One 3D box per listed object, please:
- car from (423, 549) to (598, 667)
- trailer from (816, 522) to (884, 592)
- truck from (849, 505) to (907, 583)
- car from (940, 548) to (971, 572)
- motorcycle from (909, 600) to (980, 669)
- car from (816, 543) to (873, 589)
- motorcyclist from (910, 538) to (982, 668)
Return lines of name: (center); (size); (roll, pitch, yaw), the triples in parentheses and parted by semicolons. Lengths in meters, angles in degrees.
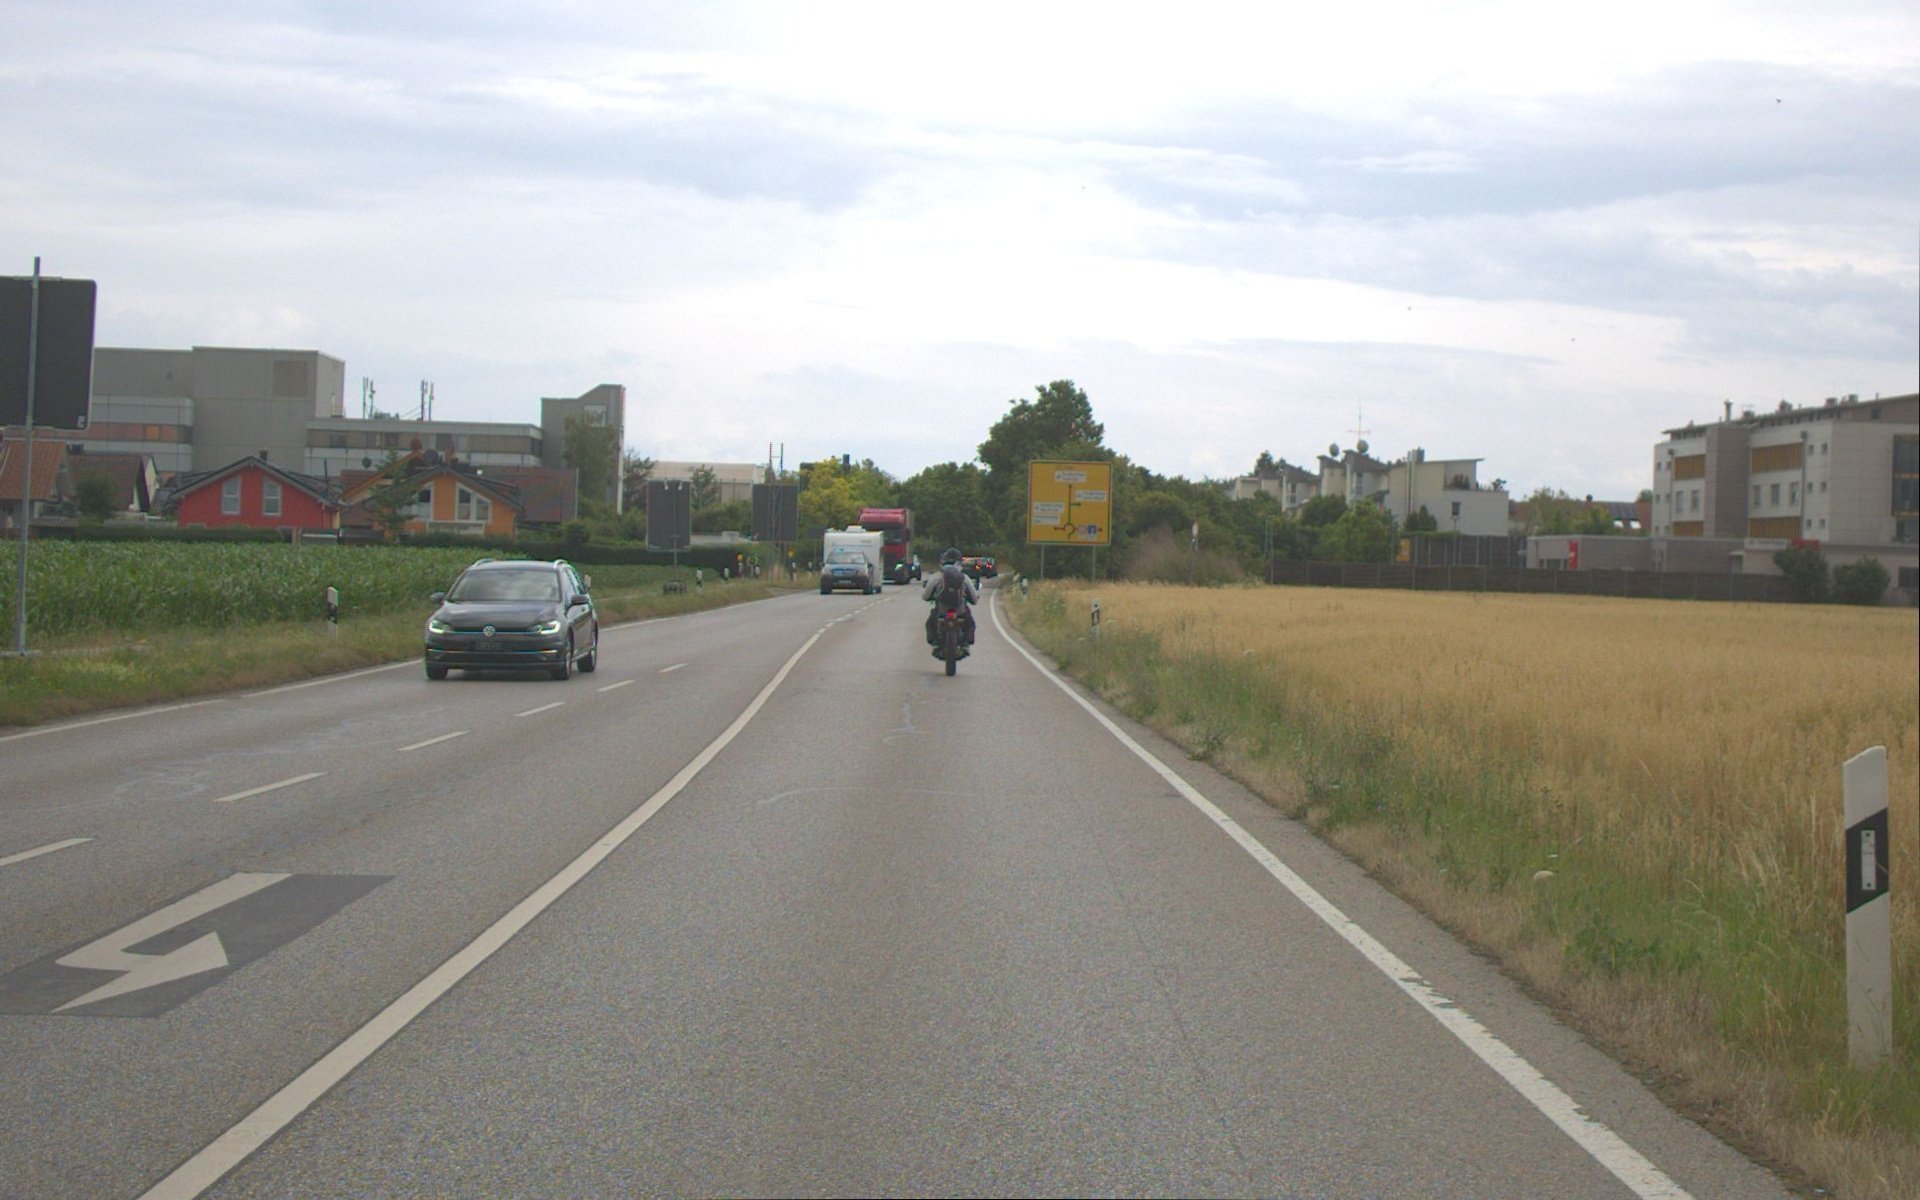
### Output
car: (-5.671, 0.069, 43.770); (1.669, 1.424, 4.303); (0, 1, 0)
trailer: (-4.475, -1.752, 140.774); (2.324, 2.720, 7.843); (2, 1, 1)
truck: (-4.332, -2.950, 182.192); (2.729, 3.974, 6.816); (1, 0, 1)
car: (-0.291, -2.561, 219.290); (1.855, 1.467, 4.000); (2, 1, 0)
motorcycle: (-0.202, 0.466, 47.784); (0.941, 0.887, 2.146); (2, 0, 0)
car: (-4.522, -1.347, 135.233); (1.993, 1.693, 4.676); (2, 1, 0)
motorcyclist: (-0.191, 0.036, 47.802); (0.941, 1.744, 1.200); (2, 0, 0)
